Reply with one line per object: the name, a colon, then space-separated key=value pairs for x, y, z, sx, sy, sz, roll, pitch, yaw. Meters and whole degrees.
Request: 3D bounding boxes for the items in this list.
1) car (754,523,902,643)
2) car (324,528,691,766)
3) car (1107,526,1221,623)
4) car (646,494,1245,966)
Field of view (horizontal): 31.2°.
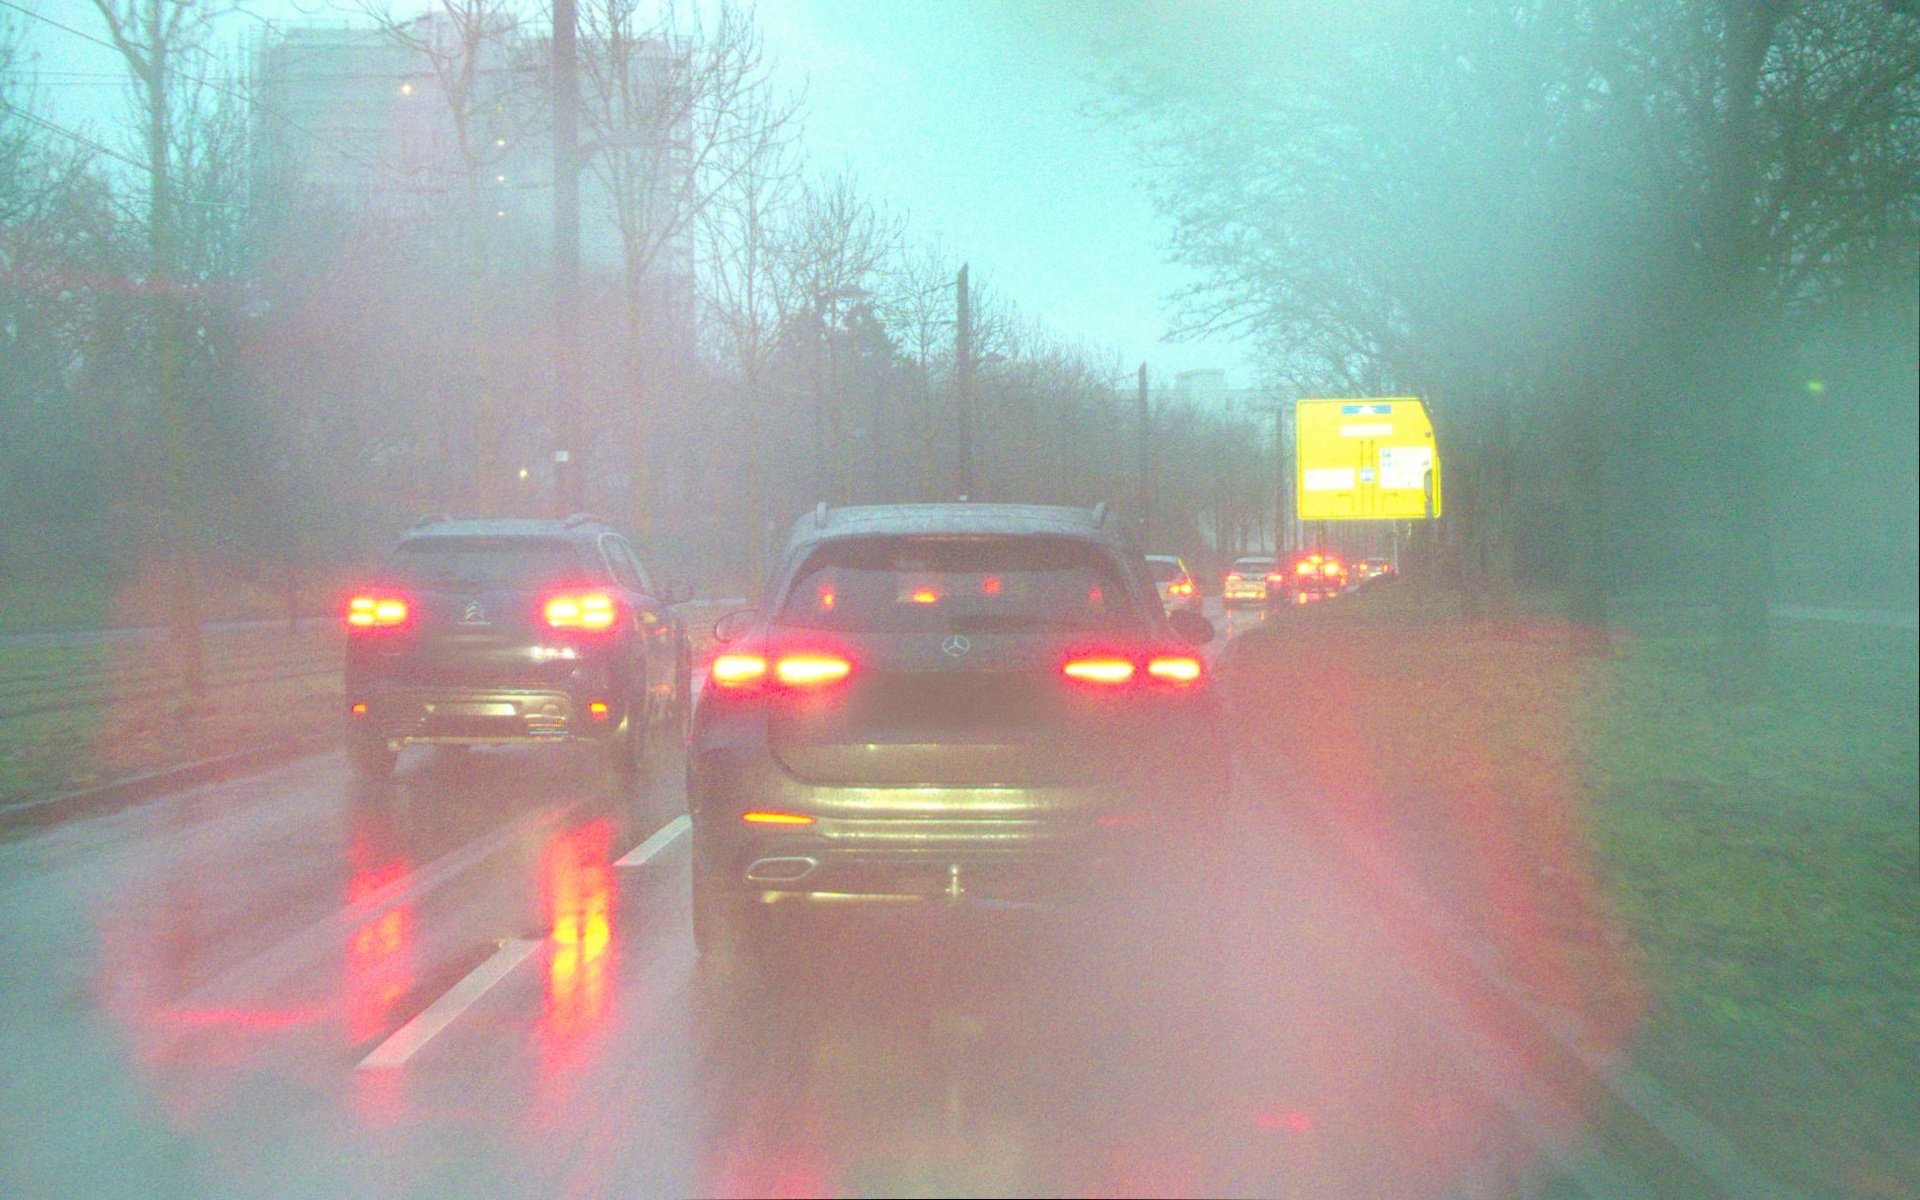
car: x=-1.804 y=-0.265 z=48.155 sx=1.880 sy=1.588 sz=4.000 roll=-1 pitch=1 yaw=0
car: x=-2.952 y=0.250 z=23.243 sx=1.880 sy=1.454 sz=4.000 roll=-1 pitch=1 yaw=1
car: x=3.456 y=-0.433 z=57.616 sx=1.709 sy=1.552 sz=3.995 roll=0 pitch=1 yaw=6
car: x=-0.071 y=0.396 z=13.491 sx=1.998 sy=1.578 sz=4.000 roll=0 pitch=1 yaw=-1
